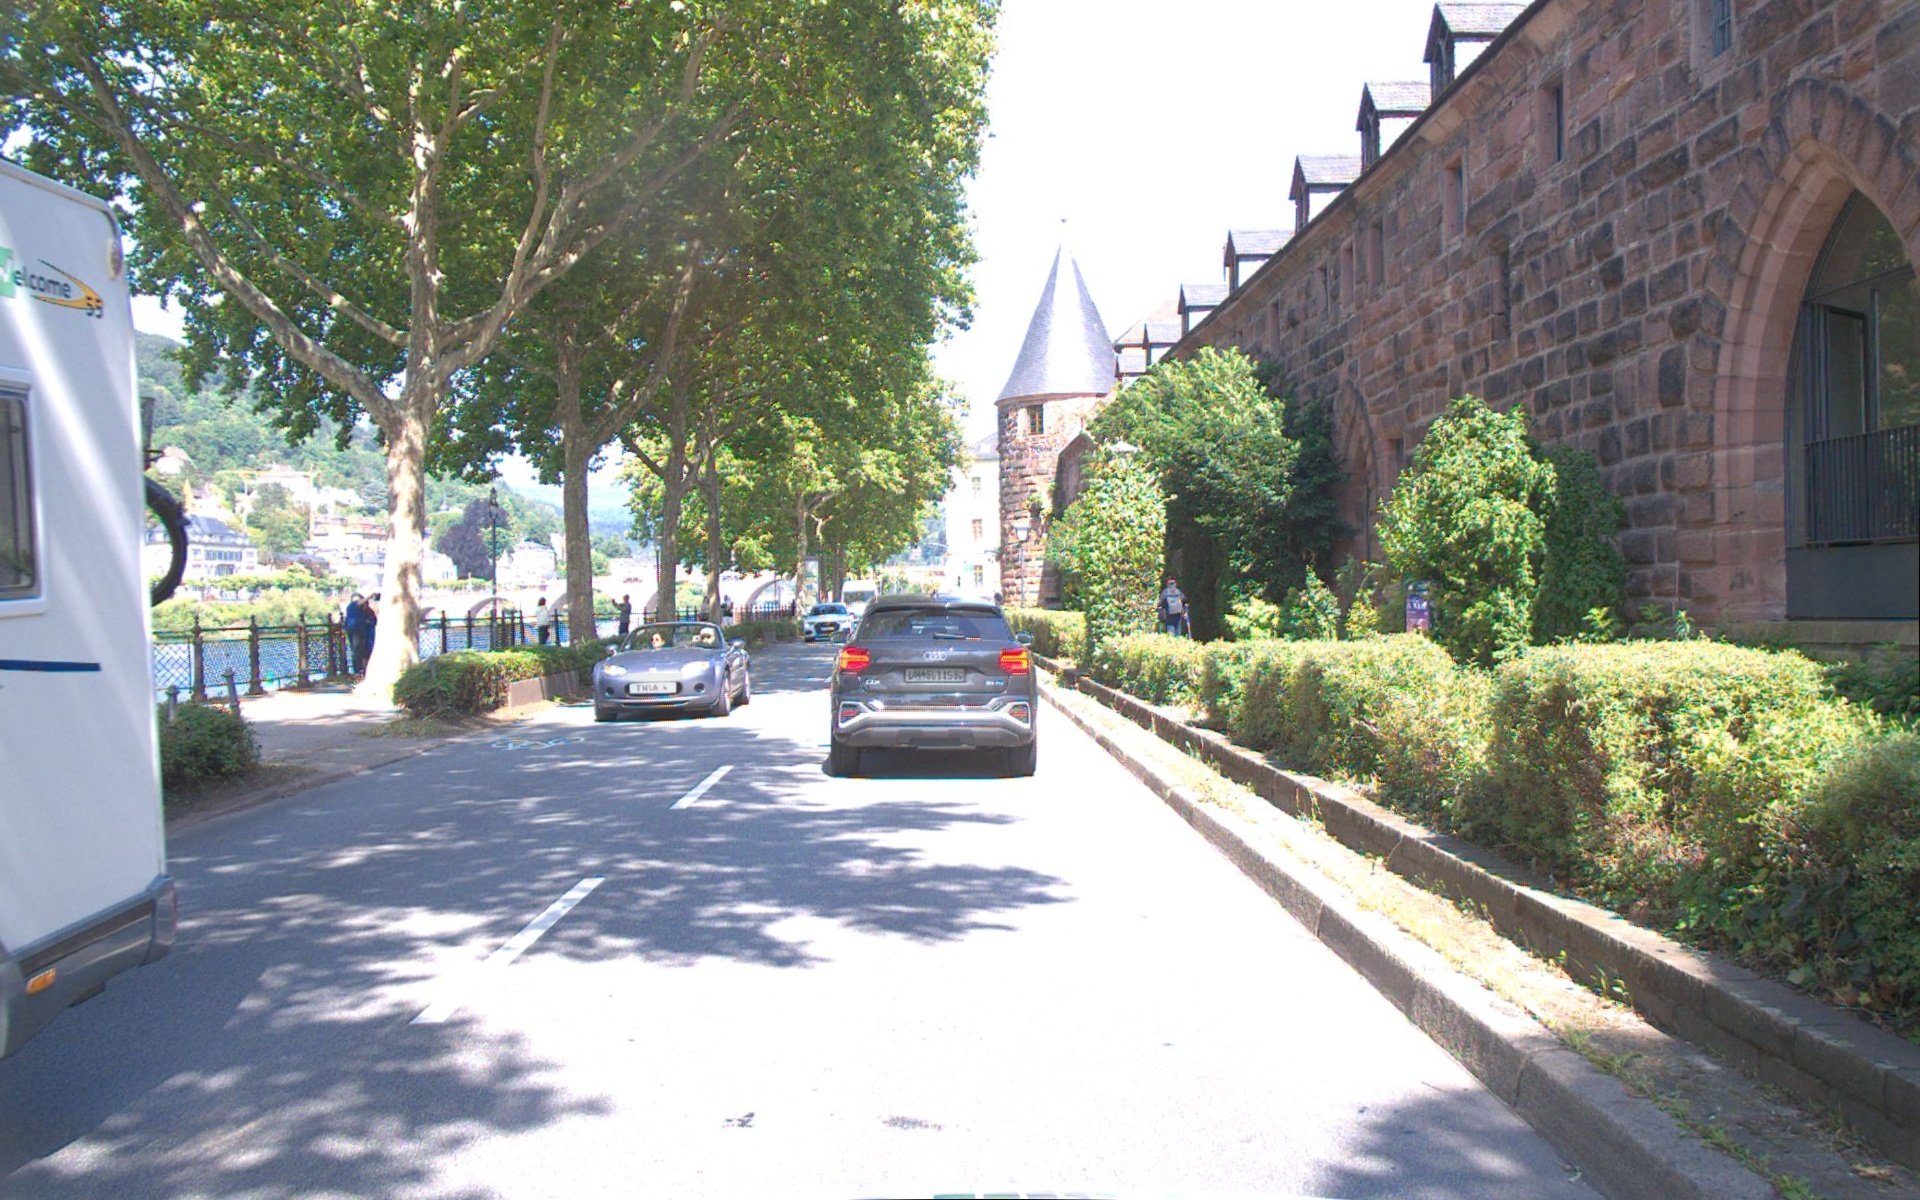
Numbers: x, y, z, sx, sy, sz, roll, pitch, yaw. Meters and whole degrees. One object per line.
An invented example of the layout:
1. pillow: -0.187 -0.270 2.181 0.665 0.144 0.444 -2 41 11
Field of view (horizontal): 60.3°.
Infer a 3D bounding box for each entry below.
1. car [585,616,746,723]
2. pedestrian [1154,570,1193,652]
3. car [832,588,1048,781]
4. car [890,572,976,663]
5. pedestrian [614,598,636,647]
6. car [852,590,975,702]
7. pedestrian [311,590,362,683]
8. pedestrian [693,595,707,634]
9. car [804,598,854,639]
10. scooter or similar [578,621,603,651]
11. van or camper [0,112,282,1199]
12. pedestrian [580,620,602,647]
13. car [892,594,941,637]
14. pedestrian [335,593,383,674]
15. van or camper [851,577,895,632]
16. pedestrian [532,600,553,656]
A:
1. car: -3.828 0.867 22.020 1.664 1.232 3.483 -2 0 -3
2. pedestrian: 4.453 0.226 34.562 0.684 1.681 0.705 -2 0 1
3. car: -0.230 0.678 15.023 1.713 1.521 3.627 1 0 -2
4. car: -0.684 0.406 40.979 1.953 2.049 3.999 -2 0 -1
5. pedestrian: -11.292 0.748 55.782 0.631 1.647 0.458 1 -1 -3
6. car: -0.680 0.678 26.465 1.764 1.590 3.716 -2 0 0
7. pedestrian: -12.564 0.719 33.341 0.689 1.828 0.705 -2 0 0
8. pedestrian: -10.634 0.608 67.742 0.448 1.581 0.585 -2 0 -2
9. car: -5.090 0.713 64.714 1.734 1.482 4.532 -2 0 -2
10. scooter or similar: -12.561 1.207 56.235 0.618 0.985 1.012 -1 0 -2
11. van or camper: -3.432 0.180 2.495 2.275 2.708 6.262 -3 0 -2
12. pedestrian: -12.564 1.140 56.381 0.595 0.899 0.705 -1 0 -2
13. car: -1.659 0.568 62.072 1.734 1.482 4.532 -2 0 -2
14. pedestrian: -12.518 0.689 34.466 0.689 1.631 0.705 -2 0 0
15. van or camper: -4.389 0.232 84.042 1.921 2.612 5.839 -3 0 -1
16. pedestrian: -13.213 0.886 52.350 0.573 1.740 0.403 1 -1 -3
